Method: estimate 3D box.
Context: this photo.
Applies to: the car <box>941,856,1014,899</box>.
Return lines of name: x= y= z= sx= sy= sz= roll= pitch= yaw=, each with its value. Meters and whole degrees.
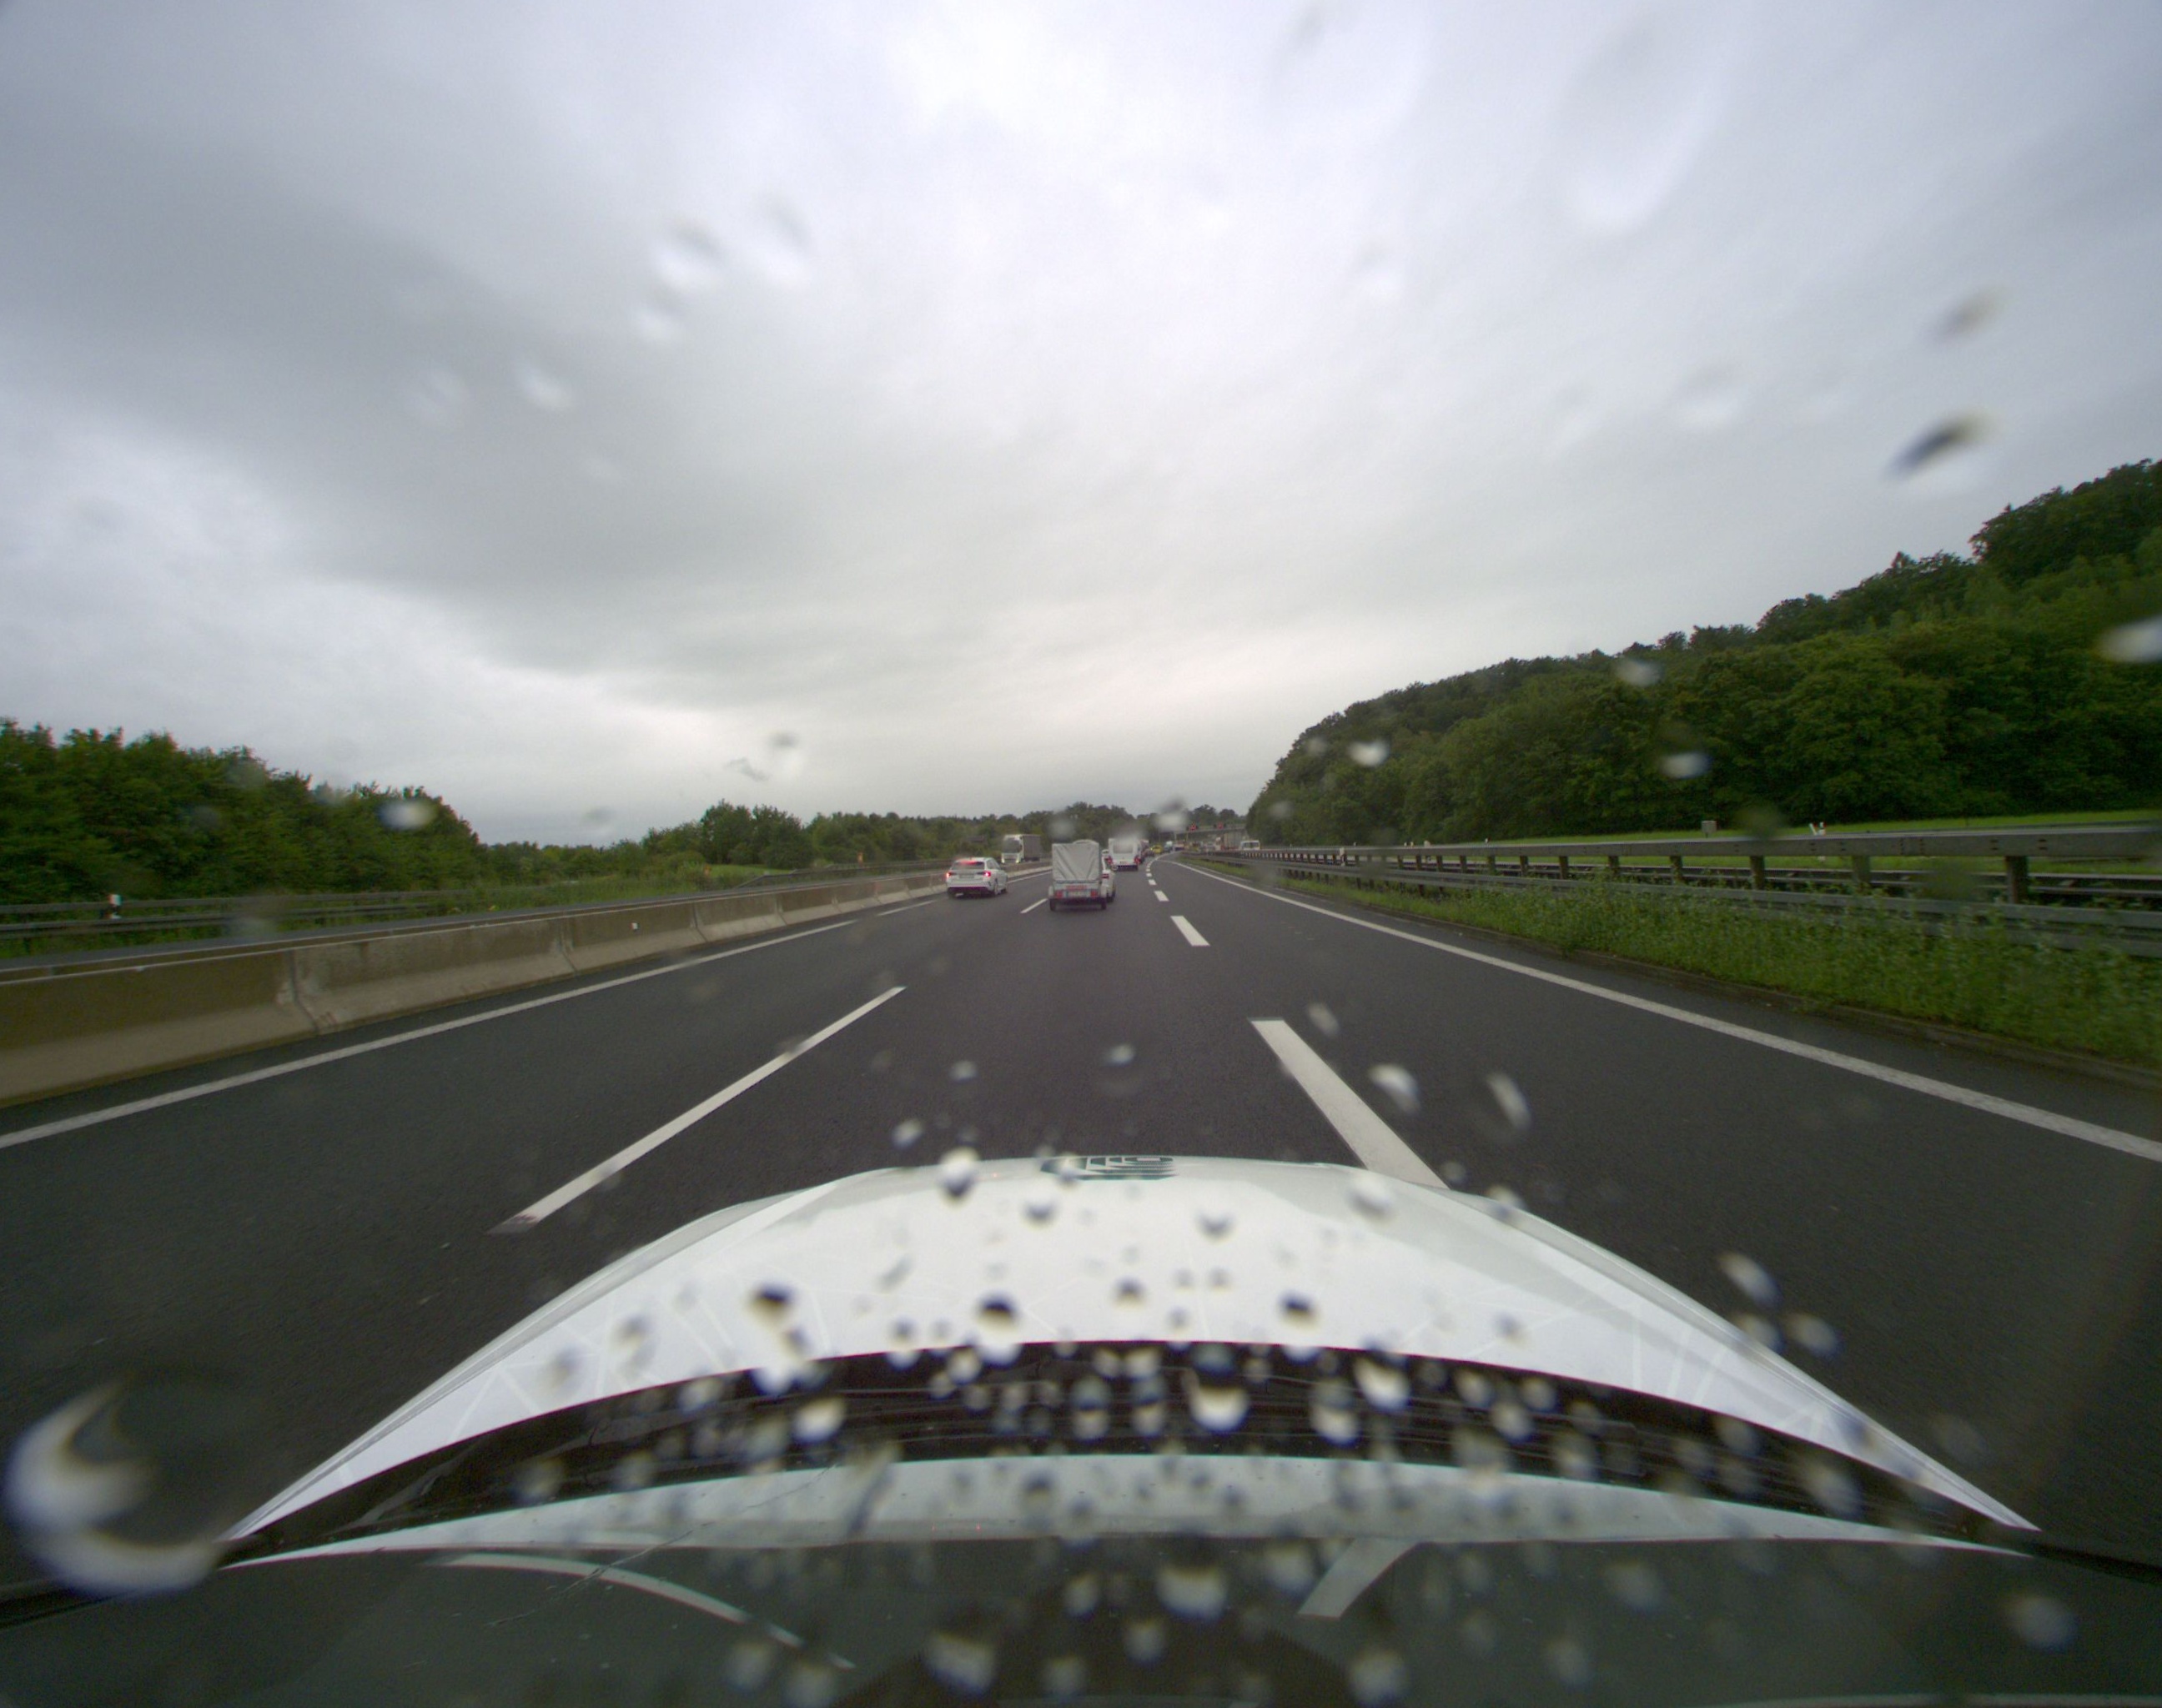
car: x=-3.851 y=0.848 z=31.143 sx=1.810 sy=1.456 sz=4.782 roll=-2 pitch=-1 yaw=4

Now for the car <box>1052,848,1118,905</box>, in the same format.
car: x=0.228 y=0.677 z=26.541 sx=1.810 sy=1.616 sz=4.782 roll=-2 pitch=-1 yaw=4

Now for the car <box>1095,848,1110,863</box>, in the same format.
car: x=2.899 y=0.258 z=110.081 sx=1.986 sy=1.919 sz=4.001 roll=-2 pitch=-1 yaw=1

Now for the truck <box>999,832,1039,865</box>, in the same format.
truck: x=-8.282 y=-0.710 z=110.283 sx=2.772 sy=4.092 sz=12.323 roll=-2 pitch=-1 yaw=7

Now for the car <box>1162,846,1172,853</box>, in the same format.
car: x=21.346 y=-1.175 z=201.875 sx=2.024 sy=1.683 sz=4.013 roll=-2 pitch=-1 yaw=12

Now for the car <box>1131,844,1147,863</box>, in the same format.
car: x=6.597 y=-0.043 z=91.975 sx=1.668 sy=2.067 sz=4.004 roll=-2 pitch=-1 yaw=4

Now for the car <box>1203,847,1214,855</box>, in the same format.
car: x=23.217 y=-0.582 z=147.984 sx=1.658 sy=1.382 sz=4.133 roll=-4 pitch=-1 yaw=6

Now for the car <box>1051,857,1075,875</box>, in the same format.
car: x=-1.498 y=1.020 z=68.943 sx=1.668 sy=1.456 sz=4.004 roll=-2 pitch=-1 yaw=4

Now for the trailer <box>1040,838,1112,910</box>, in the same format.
trailer: x=-0.044 y=0.526 z=23.085 sx=1.668 sy=1.812 sz=4.004 roll=-2 pitch=-1 yaw=4

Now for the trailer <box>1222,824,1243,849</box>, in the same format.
trailer: x=26.233 y=-2.917 z=141.371 sx=2.590 sy=3.894 sz=12.513 roll=-2 pitch=-1 yaw=7

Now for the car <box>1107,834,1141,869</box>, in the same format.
car: x=3.523 y=-0.189 z=65.289 sx=2.496 sy=2.585 sz=5.705 roll=-2 pitch=-1 yaw=4

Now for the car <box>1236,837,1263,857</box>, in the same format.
car: x=15.879 y=-0.648 z=77.054 sx=1.900 sy=1.693 sz=4.725 roll=-2 pitch=-1 yaw=5

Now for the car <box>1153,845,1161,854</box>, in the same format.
car: x=16.618 y=-0.955 z=177.746 sx=1.666 sy=1.812 sz=4.009 roll=-2 pitch=-1 yaw=8

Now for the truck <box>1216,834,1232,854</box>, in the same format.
truck: x=36.442 y=-2.524 z=207.786 sx=3.197 sy=4.666 sz=13.061 roll=-2 pitch=-1 yaw=8

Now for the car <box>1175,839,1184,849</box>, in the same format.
car: x=29.234 y=-2.983 z=241.842 sx=2.500 sy=2.574 sz=5.326 roll=-2 pitch=-1 yaw=10

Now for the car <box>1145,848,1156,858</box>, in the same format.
car: x=12.513 y=-0.197 z=146.079 sx=1.666 sy=1.812 sz=4.010 roll=-2 pitch=-1 yaw=9
